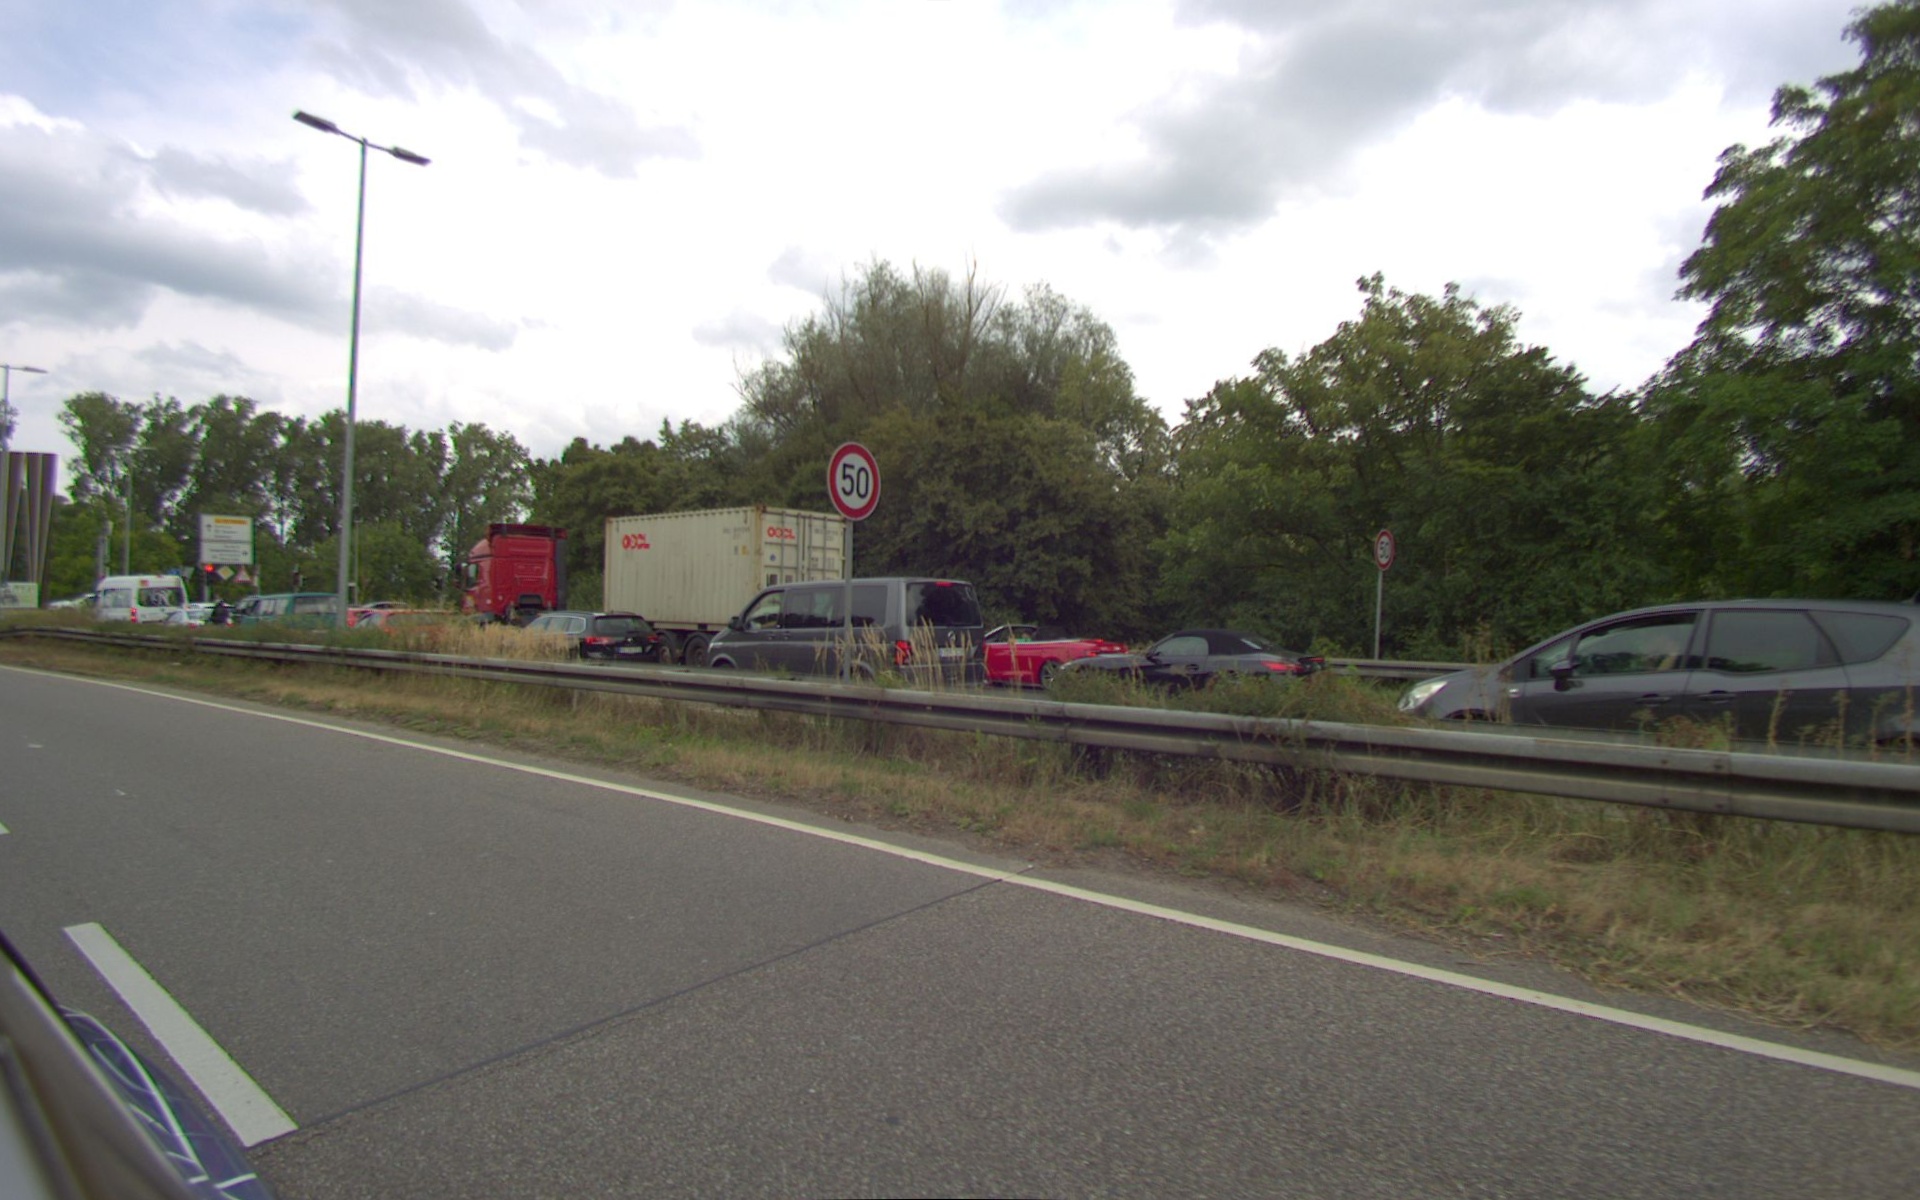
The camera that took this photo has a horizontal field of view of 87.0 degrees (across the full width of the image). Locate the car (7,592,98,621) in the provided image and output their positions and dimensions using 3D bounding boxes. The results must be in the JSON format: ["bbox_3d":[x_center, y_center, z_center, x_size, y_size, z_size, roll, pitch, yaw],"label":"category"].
[{"bbox_3d":[-58.908,0.427,65.719,1.926,1.796,4.200,0,0,41],"label":"car"}]

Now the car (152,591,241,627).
[{"bbox_3d":[-34.446,0.383,45.613,4.529,1.558,1.976,1,0,36],"label":"car"}]

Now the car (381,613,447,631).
[{"bbox_3d":[-43.706,1.734,81.124,1.992,1.320,4.294,1,0,30],"label":"car"}]

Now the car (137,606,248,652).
[{"bbox_3d":[-28.109,1.016,37.044,4.389,1.510,1.977,1,0,34],"label":"car"}]

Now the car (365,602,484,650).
[{"bbox_3d":[-17.874,0.827,33.706,4.270,1.477,1.788,1,0,36],"label":"car"}]

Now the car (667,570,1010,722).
[{"bbox_3d":[-1.954,0.551,14.960,5.274,1.877,1.989,1,0,40],"label":"car"}]

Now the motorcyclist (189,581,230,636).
[{"bbox_3d":[-25.616,0.286,34.535,0.923,1.837,0.858,0,0,34],"label":"motorcyclist"}]

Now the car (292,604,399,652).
[{"bbox_3d":[-22.561,0.995,37.148,3.992,1.626,1.976,1,0,36],"label":"car"}]

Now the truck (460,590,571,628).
[{"bbox_3d":[-39.342,0.793,89.942,2.959,3.159,9.186,1,0,28],"label":"truck"}]

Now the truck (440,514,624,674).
[{"bbox_3d":[-12.271,-0.177,28.831,5.619,4.114,2.542,1,0,40],"label":"truck"}]

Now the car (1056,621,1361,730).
[{"bbox_3d":[3.555,1.003,14.907,4.000,1.298,1.800,1,0,42],"label":"car"}]

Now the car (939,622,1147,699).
[{"bbox_3d":[1.625,1.169,20.845,4.160,1.342,1.606,1,0,42],"label":"car"}]

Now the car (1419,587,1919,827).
[{"bbox_3d":[5.863,0.678,7.769,3.939,1.517,1.748,1,0,42],"label":"car"}]

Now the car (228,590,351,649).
[{"bbox_3d":[-21.564,0.571,32.479,4.953,1.742,1.787,1,0,38],"label":"car"}]

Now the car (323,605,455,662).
[{"bbox_3d":[-15.899,0.876,28.111,4.121,1.442,1.786,1,0,39],"label":"car"}]

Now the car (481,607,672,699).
[{"bbox_3d":[-8.074,1.004,21.136,4.331,1.679,1.822,1,0,40],"label":"car"}]

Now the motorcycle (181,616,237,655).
[{"bbox_3d":[-25.655,1.190,34.569,2.320,1.234,0.792,1,0,33],"label":"motorcycle"}]

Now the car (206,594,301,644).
[{"bbox_3d":[-29.129,0.752,41.715,4.159,1.916,1.976,1,0,36],"label":"car"}]

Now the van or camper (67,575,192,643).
[{"bbox_3d":[-34.311,0.321,41.729,6.477,2.608,2.143,1,0,33],"label":"van or camper"}]

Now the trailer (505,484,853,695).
[{"bbox_3d":[-7.257,-0.240,24.565,10.764,4.178,2.509,1,0,40],"label":"trailer"}]

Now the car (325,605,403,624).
[{"bbox_3d":[-43.389,1.055,73.722,1.992,1.320,4.528,1,0,30],"label":"car"}]
